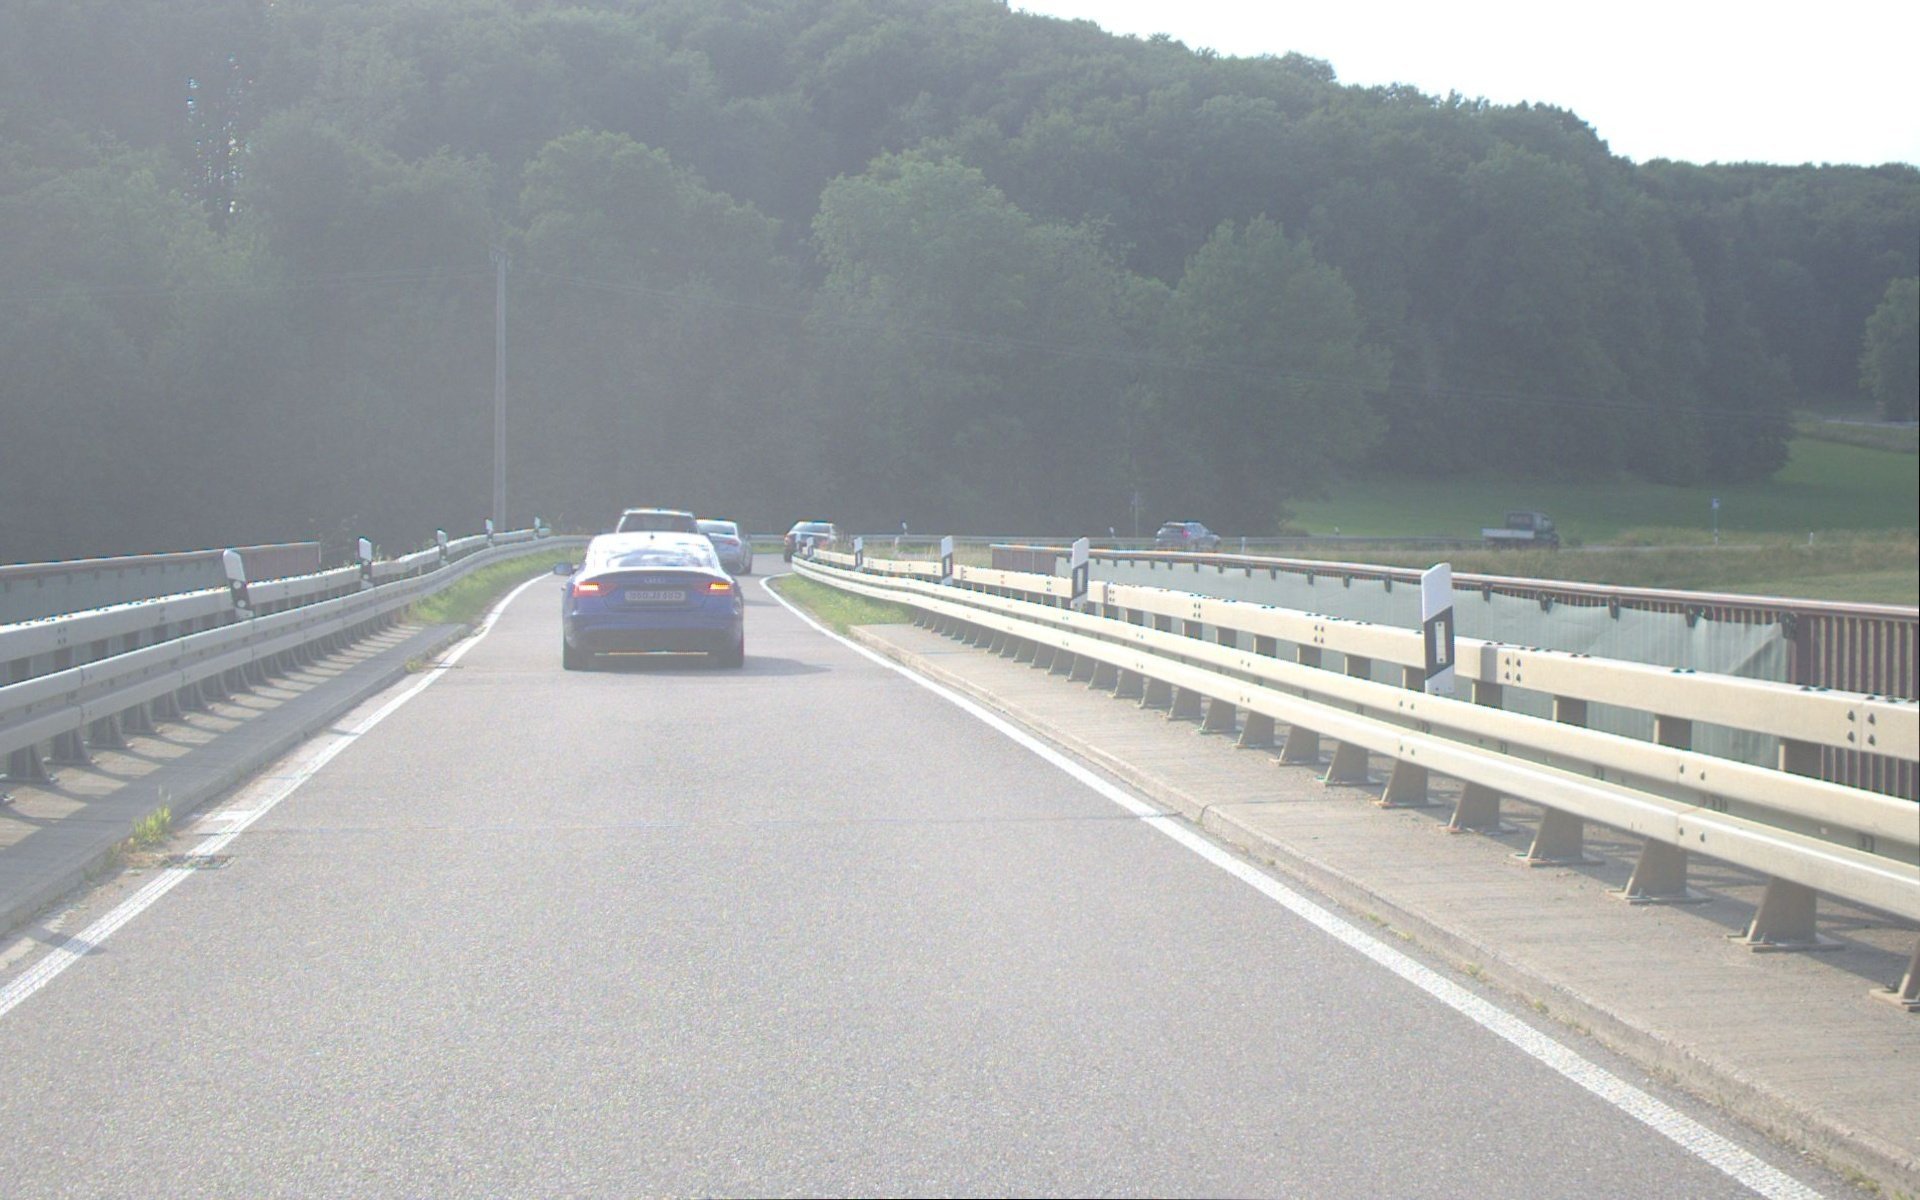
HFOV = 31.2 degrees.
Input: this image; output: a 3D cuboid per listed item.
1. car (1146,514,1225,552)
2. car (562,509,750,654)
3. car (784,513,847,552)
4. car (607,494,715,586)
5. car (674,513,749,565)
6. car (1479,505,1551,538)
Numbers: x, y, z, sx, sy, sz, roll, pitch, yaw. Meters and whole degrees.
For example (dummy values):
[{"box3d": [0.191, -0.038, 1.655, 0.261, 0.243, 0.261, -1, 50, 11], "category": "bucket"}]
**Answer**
[{"box3d": [10.901, -3.210, 165.935, 1.997, 1.673, 4.170, 3, 2, 32], "category": "car"}, {"box3d": [-3.212, -0.238, 35.790, 1.818, 1.334, 4.351, 1, 2, -6], "category": "car"}, {"box3d": [-4.957, -2.310, 118.118, 1.472, 1.223, 3.298, 1, 0, 10], "category": "car"}, {"box3d": [-5.569, -1.128, 63.624, 1.861, 1.563, 4.001, 1, 2, -7], "category": "car"}, {"box3d": [-6.795, -1.679, 94.254, 1.682, 1.371, 4.000, 1, 1, 1], "category": "car"}, {"box3d": [31.269, -4.417, 193.583, 3.989, 1.766, 1.999, 0, 1, -44], "category": "car"}]
